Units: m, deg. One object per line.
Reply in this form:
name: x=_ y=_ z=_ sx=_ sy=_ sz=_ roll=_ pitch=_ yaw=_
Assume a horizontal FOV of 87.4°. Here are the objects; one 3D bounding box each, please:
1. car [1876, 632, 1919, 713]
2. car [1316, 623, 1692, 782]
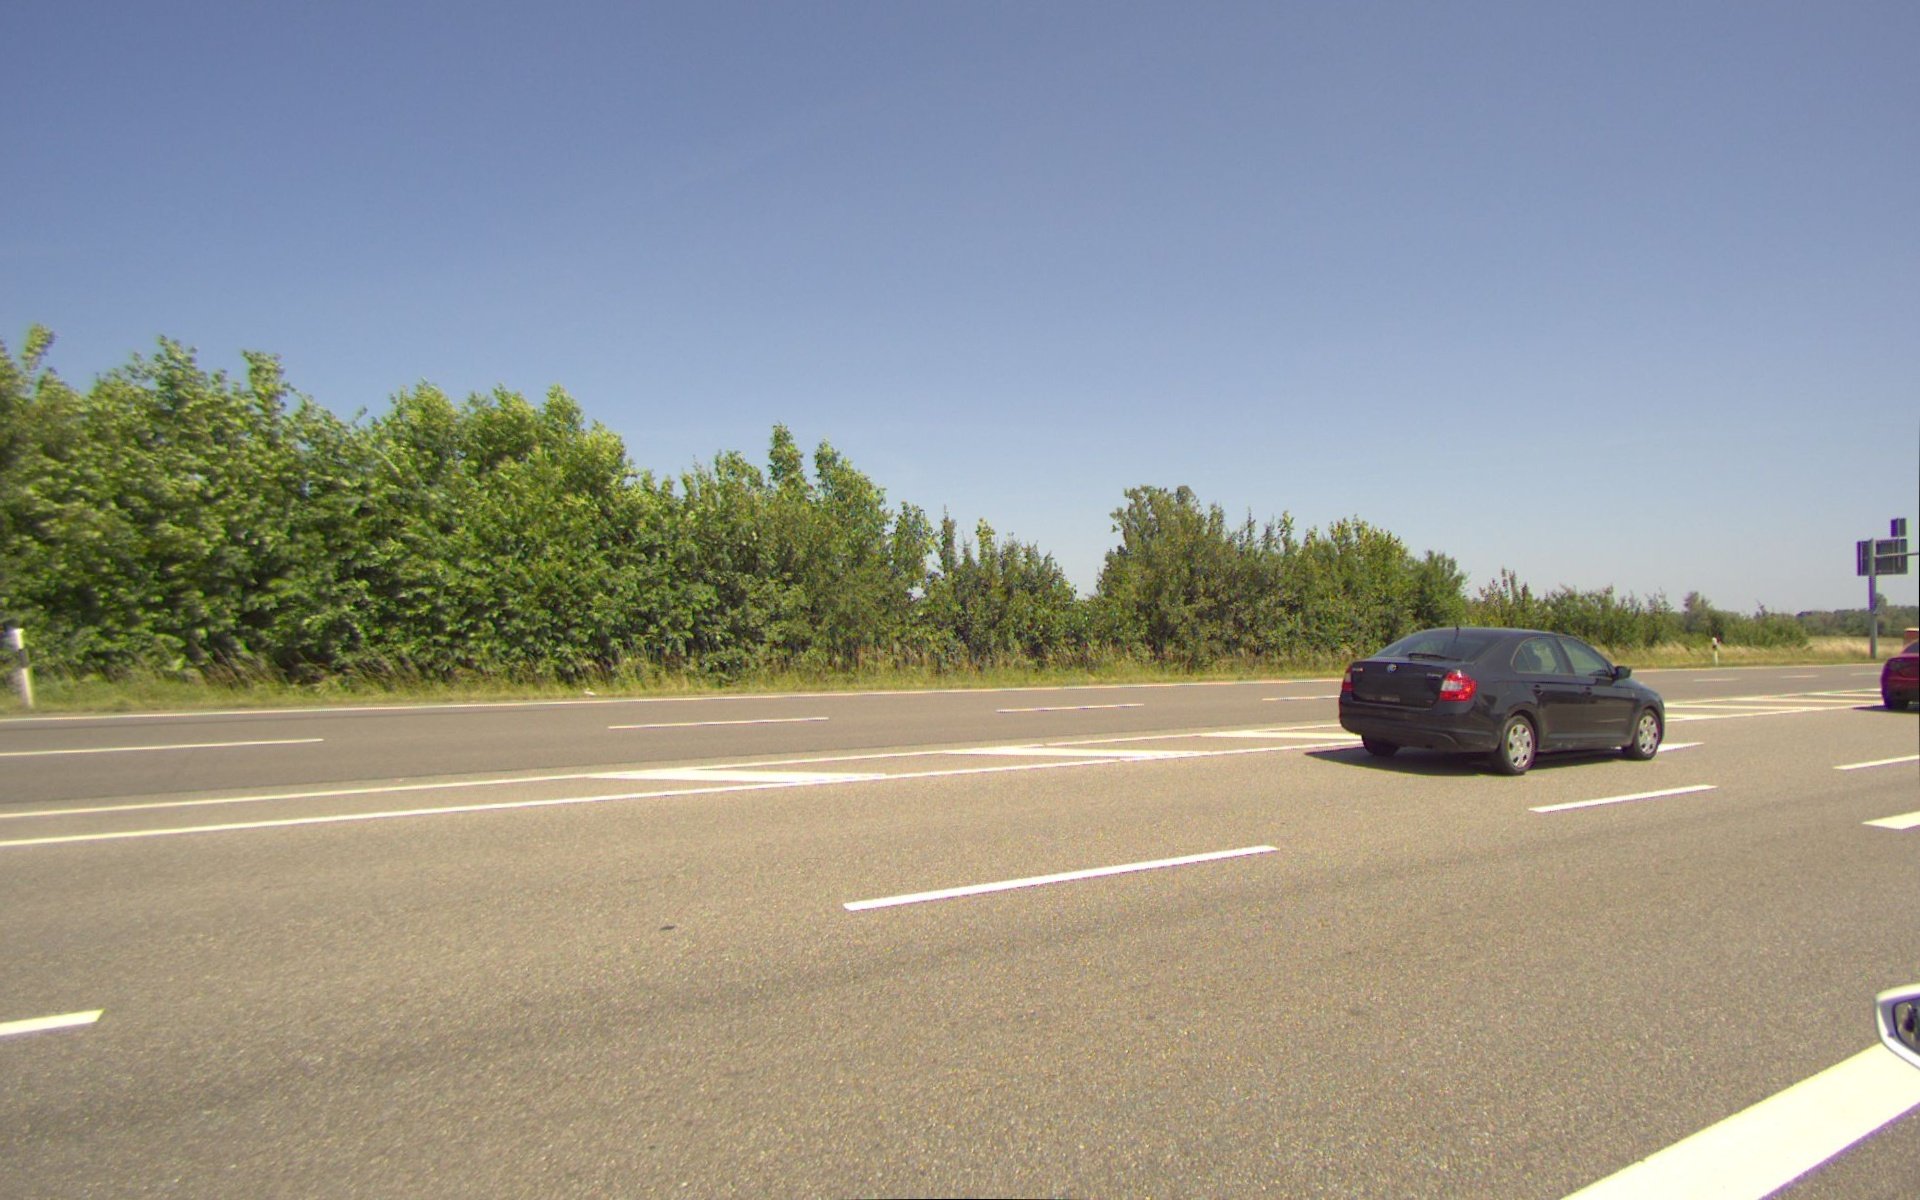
car: x=19.462 y=1.367 z=19.253 sx=4.517 sy=1.440 sz=1.739 roll=1 pitch=0 yaw=-33
car: x=6.114 y=1.034 z=11.144 sx=4.416 sy=1.430 sz=1.666 roll=2 pitch=-1 yaw=-31
